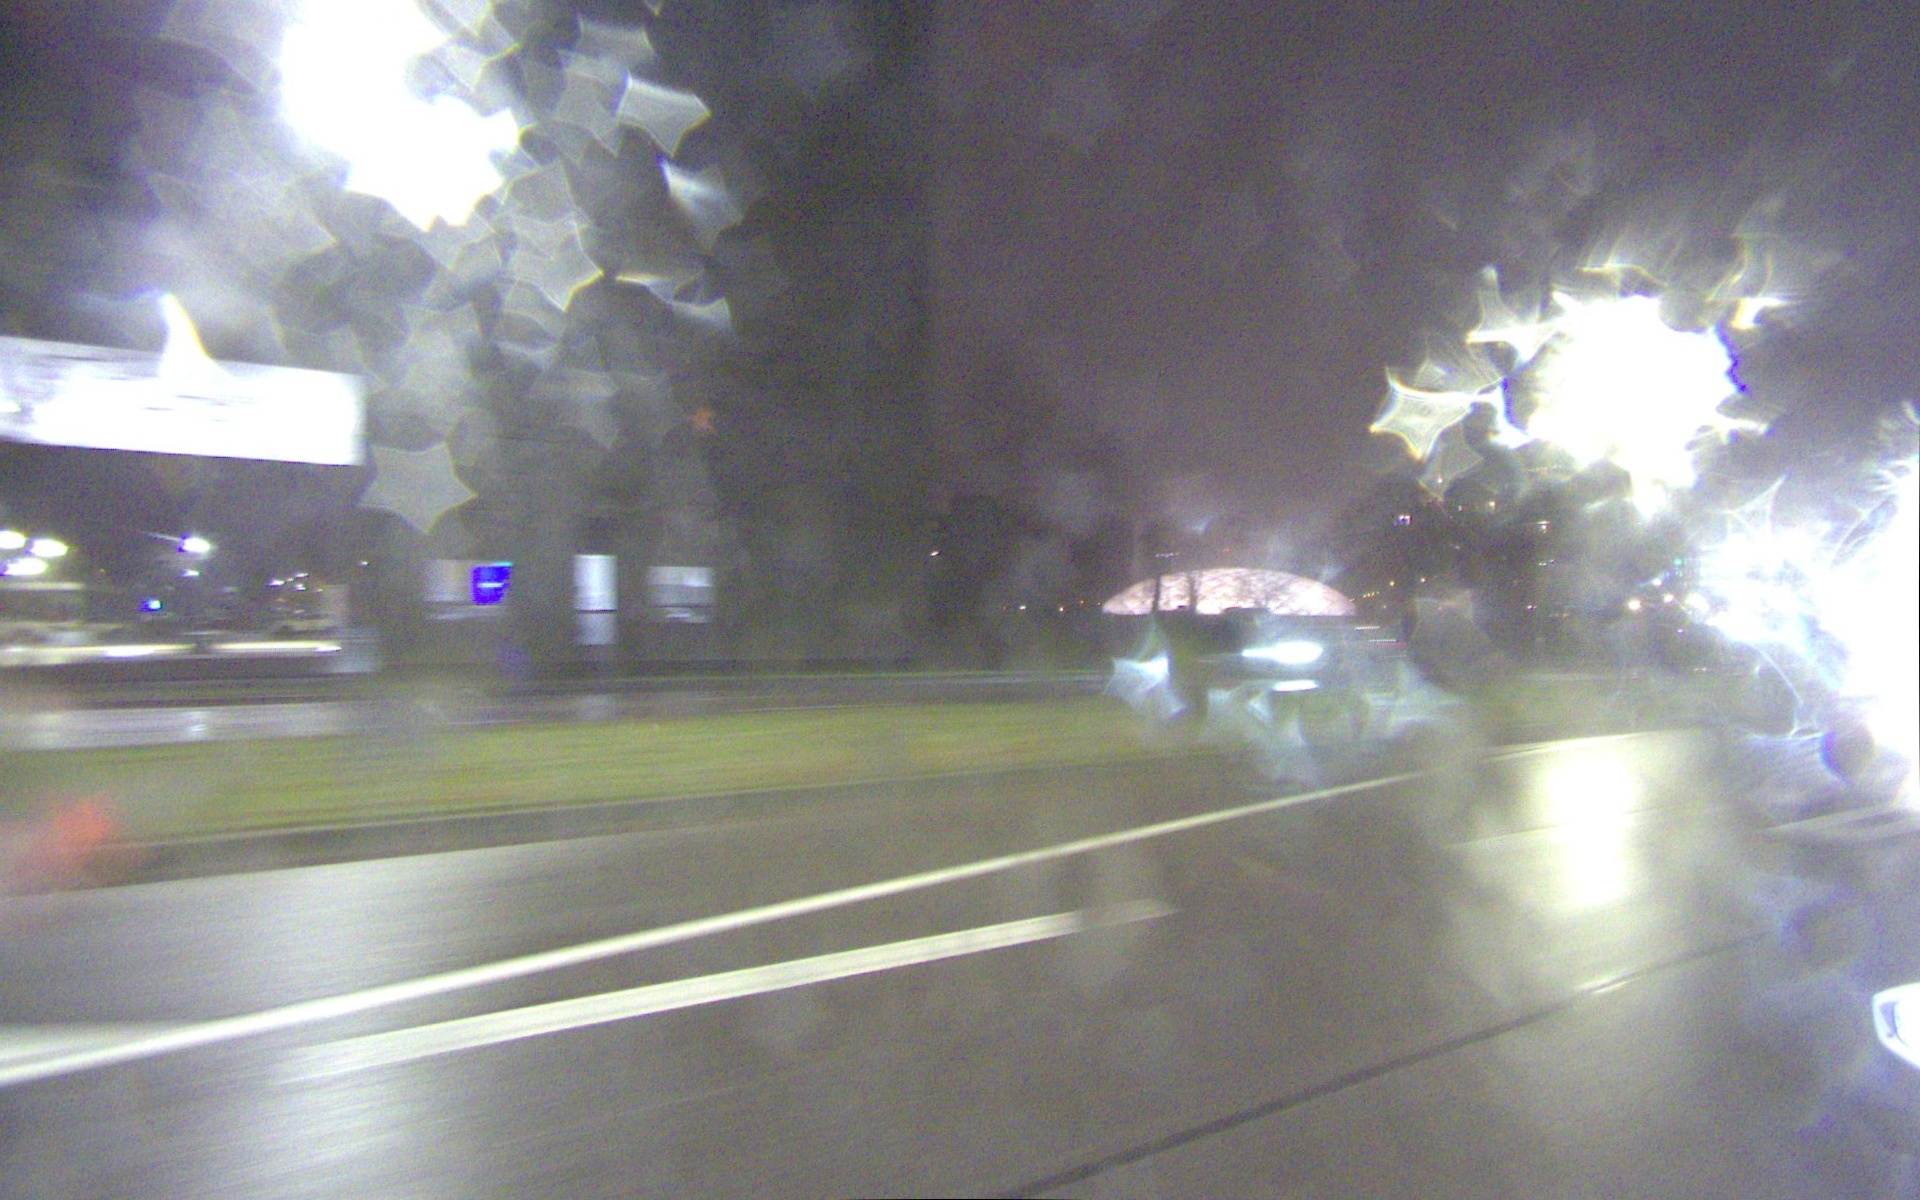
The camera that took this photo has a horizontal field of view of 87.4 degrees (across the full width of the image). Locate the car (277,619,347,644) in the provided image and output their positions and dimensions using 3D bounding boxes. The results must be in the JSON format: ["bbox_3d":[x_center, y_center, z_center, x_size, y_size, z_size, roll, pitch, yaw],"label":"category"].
[{"bbox_3d":[-44.341,2.123,68.861,3.955,1.595,1.893,1,1,-32],"label":"car"}]

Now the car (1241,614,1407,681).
[{"bbox_3d":[10.235,1.278,28.170,4.496,1.706,2.014,1,1,-31],"label":"car"}]
